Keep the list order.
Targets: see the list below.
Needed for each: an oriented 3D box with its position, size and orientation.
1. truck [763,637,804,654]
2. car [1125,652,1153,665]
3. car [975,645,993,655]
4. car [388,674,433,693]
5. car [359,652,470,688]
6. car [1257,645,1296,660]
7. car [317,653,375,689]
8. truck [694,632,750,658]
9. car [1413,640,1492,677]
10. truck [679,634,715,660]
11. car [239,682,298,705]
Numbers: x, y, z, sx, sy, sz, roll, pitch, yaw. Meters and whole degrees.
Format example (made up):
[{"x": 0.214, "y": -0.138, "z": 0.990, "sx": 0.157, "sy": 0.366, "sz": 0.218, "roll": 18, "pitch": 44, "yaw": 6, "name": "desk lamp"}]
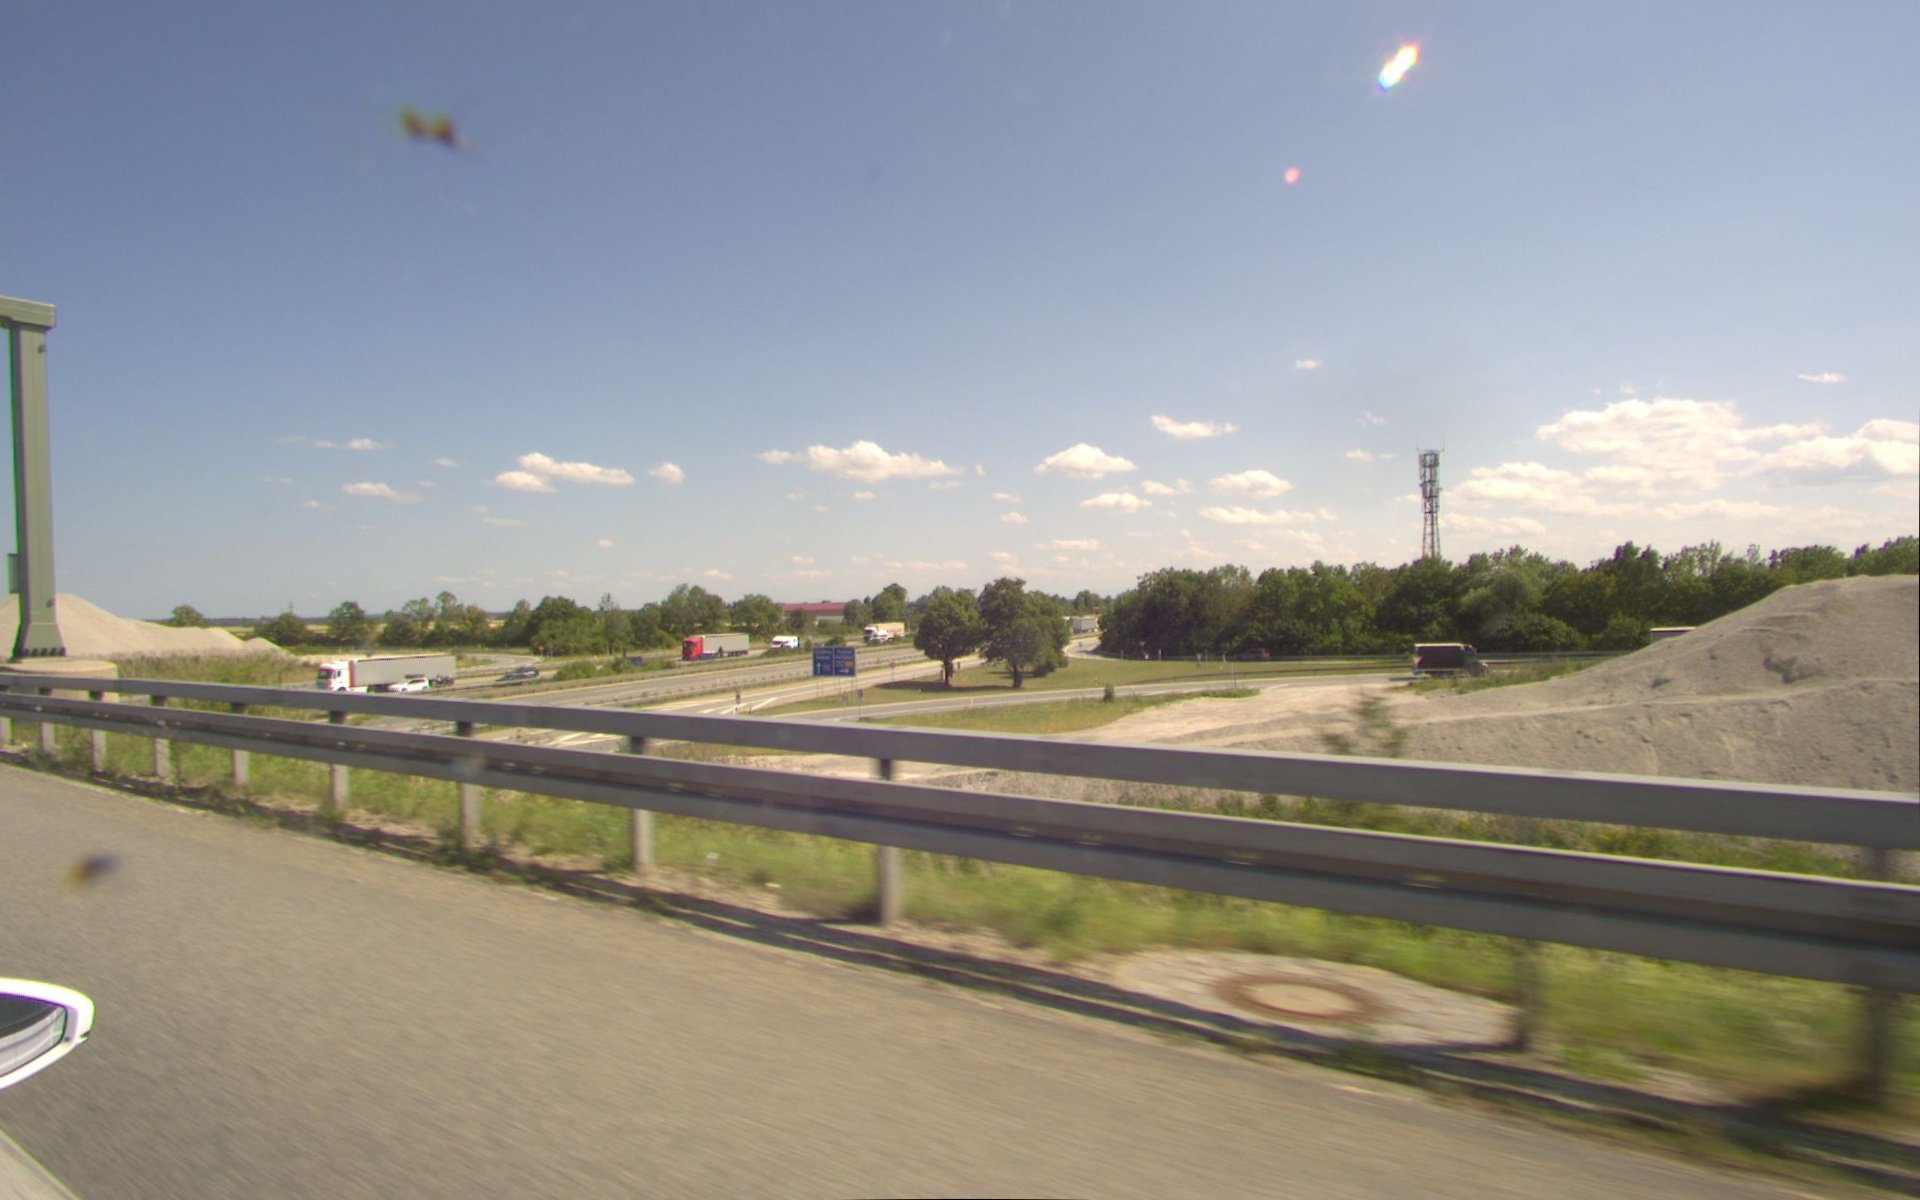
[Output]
[{"x": -35.094, "y": 9.023, "z": 199.573, "sx": 3.099, "sy": 3.099, "sz": 10.022, "roll": -1, "pitch": -1, "yaw": 23, "name": "truck"}, {"x": 27.057, "y": 8.848, "z": 151.363, "sx": 1.974, "sy": 1.792, "sz": 3.980, "roll": 3, "pitch": -5, "yaw": -32, "name": "car"}, {"x": 4.141, "y": 8.523, "z": 169.184, "sx": 1.965, "sy": 1.593, "sz": 3.997, "roll": -1, "pitch": -4, "yaw": 18, "name": "car"}, {"x": -64.604, "y": 9.792, "z": 117.804, "sx": 1.967, "sy": 2.039, "sz": 4.398, "roll": -1, "pitch": -3, "yaw": 24, "name": "car"}, {"x": -66.152, "y": 8.397, "z": 122.017, "sx": 2.442, "sy": 4.013, "sz": 12.979, "roll": -1, "pitch": -3, "yaw": 24, "name": "car"}, {"x": 41.757, "y": 6.931, "z": 131.982, "sx": 4.622, "sy": 1.827, "sz": 1.747, "roll": -4, "pitch": -6, "yaw": 44, "name": "car"}, {"x": -69.808, "y": 8.034, "z": 113.868, "sx": 2.442, "sy": 4.014, "sz": 5.146, "roll": -1, "pitch": -2, "yaw": 24, "name": "car"}, {"x": -42.736, "y": 8.009, "z": 180.263, "sx": 2.822, "sy": 4.119, "sz": 12.538, "roll": -1, "pitch": 0, "yaw": 23, "name": "truck"}, {"x": 50.067, "y": 5.913, "z": 102.001, "sx": 6.951, "sy": 3.672, "sz": 2.000, "roll": -1, "pitch": -4, "yaw": 17, "name": "car"}, {"x": -45.542, "y": 8.139, "z": 173.682, "sx": 2.822, "sy": 4.119, "sz": 5.939, "roll": -1, "pitch": 1, "yaw": 23, "name": "truck"}, {"x": -67.932, "y": 9.192, "z": 98.385, "sx": 1.967, "sy": 2.039, "sz": 4.398, "roll": -1, "pitch": -3, "yaw": 24, "name": "car"}]
